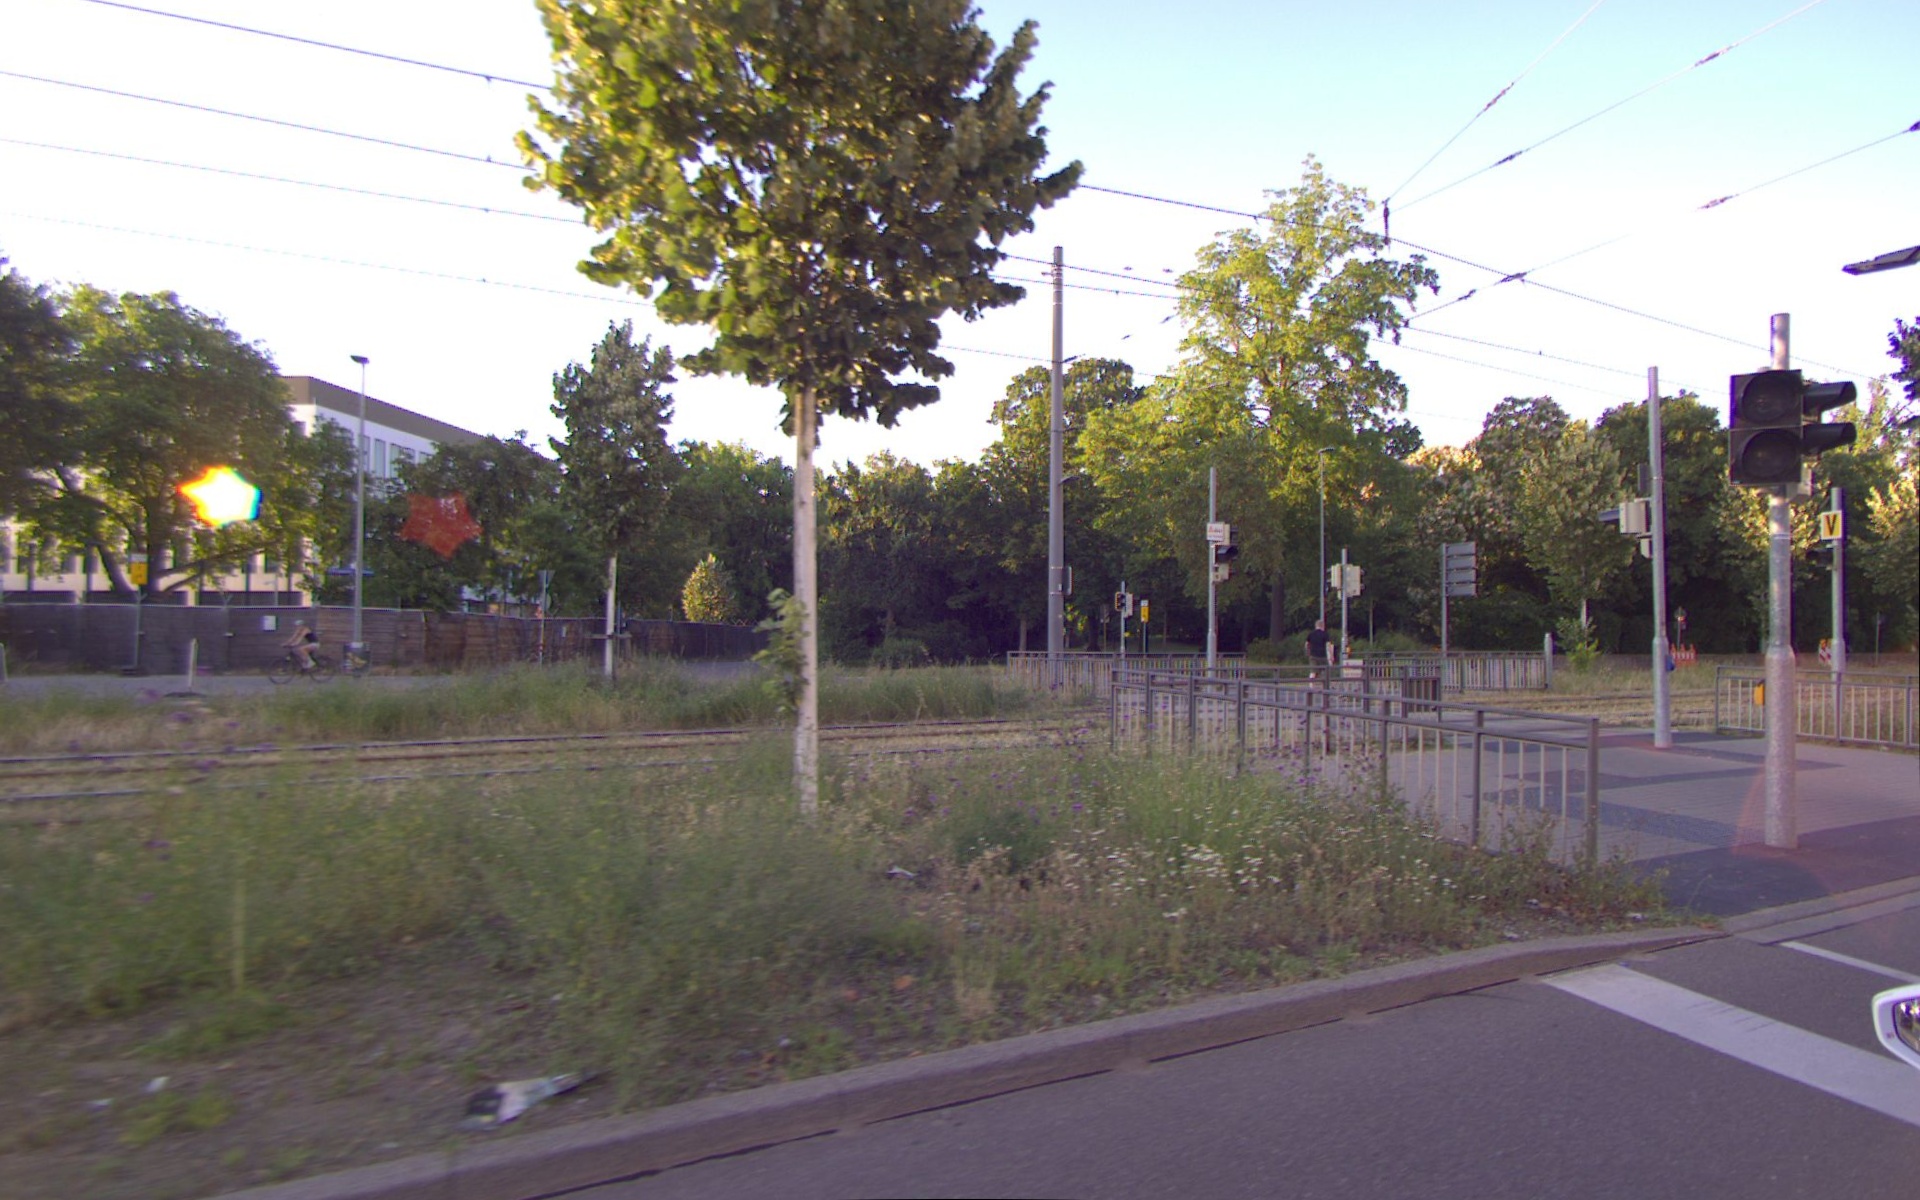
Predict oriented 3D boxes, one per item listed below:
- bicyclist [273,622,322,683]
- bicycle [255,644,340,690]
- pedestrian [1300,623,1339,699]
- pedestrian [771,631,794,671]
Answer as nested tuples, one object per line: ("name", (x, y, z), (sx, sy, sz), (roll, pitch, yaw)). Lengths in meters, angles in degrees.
("bicyclist", (-18.703, 1.464, 28.363), (0.704, 1.642, 0.942), (1, 1, 33))
("bicycle", (-18.700, 1.866, 28.385), (0.704, 1.148, 1.893), (1, 1, 33))
("pedestrian", (8.036, 1.347, 22.463), (0.665, 1.629, 0.670), (-2, 2, 28))
("pedestrian", (-8.778, 2.514, 49.792), (0.915, 1.911, 1.039), (1, 1, 1))
